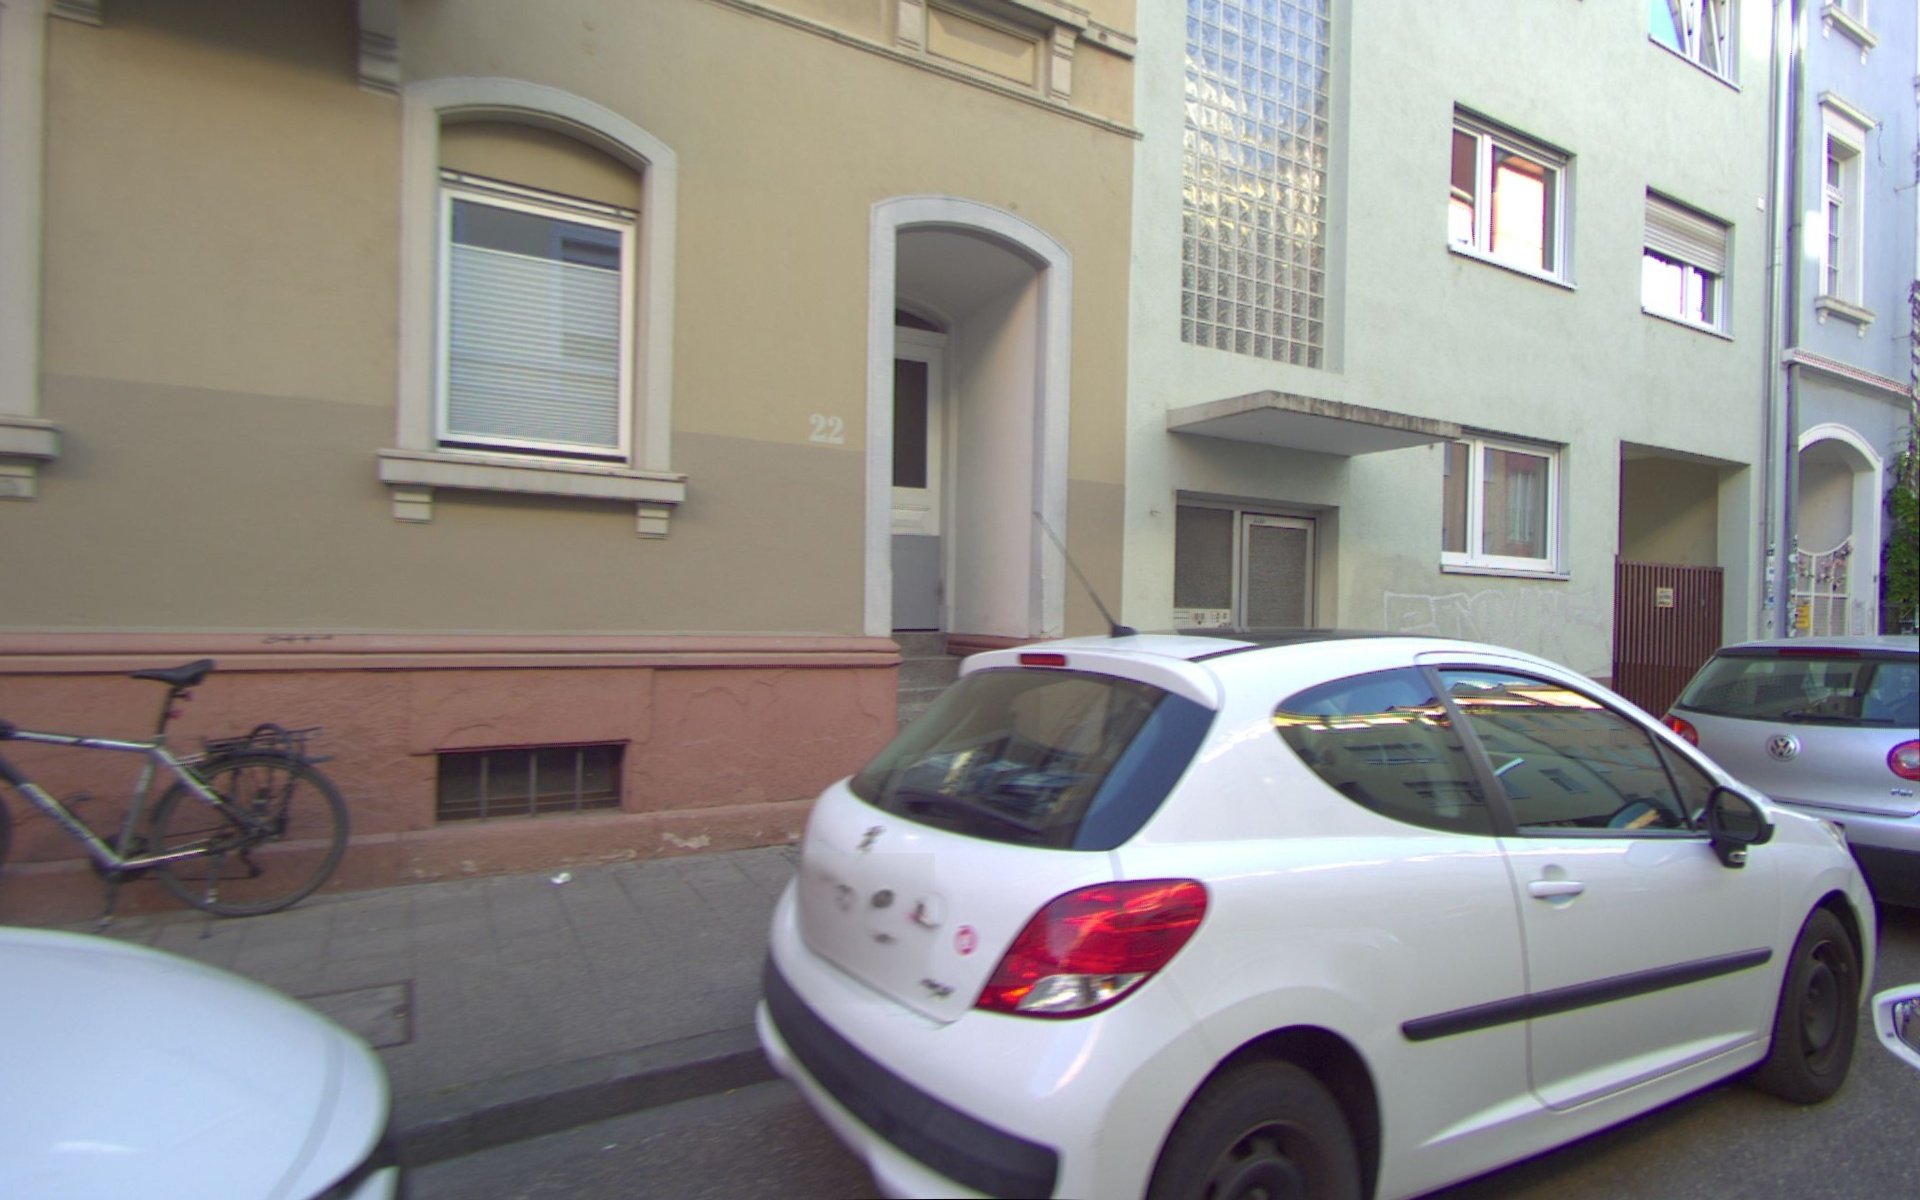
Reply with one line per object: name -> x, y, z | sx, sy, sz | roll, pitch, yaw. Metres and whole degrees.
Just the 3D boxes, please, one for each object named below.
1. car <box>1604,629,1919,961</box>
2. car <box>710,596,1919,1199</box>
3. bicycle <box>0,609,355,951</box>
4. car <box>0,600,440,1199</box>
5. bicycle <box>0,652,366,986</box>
car -> 5.811, 0.916, 5.859 | 3.981, 1.474, 1.675 | 1, -2, -27
car -> 1.367, 0.773, 3.373 | 3.953, 1.471, 1.781 | 1, -1, -31
bicycle -> -3.343, 0.686, 4.092 | 1.477, 1.277, 0.317 | 1, 1, -31
car -> -2.734, 0.723, 0.660 | 4.152, 1.482, 1.779 | 1, -1, -31
bicycle -> -3.109, 0.769, 3.783 | 1.477, 1.116, 0.415 | 1, 1, -31
